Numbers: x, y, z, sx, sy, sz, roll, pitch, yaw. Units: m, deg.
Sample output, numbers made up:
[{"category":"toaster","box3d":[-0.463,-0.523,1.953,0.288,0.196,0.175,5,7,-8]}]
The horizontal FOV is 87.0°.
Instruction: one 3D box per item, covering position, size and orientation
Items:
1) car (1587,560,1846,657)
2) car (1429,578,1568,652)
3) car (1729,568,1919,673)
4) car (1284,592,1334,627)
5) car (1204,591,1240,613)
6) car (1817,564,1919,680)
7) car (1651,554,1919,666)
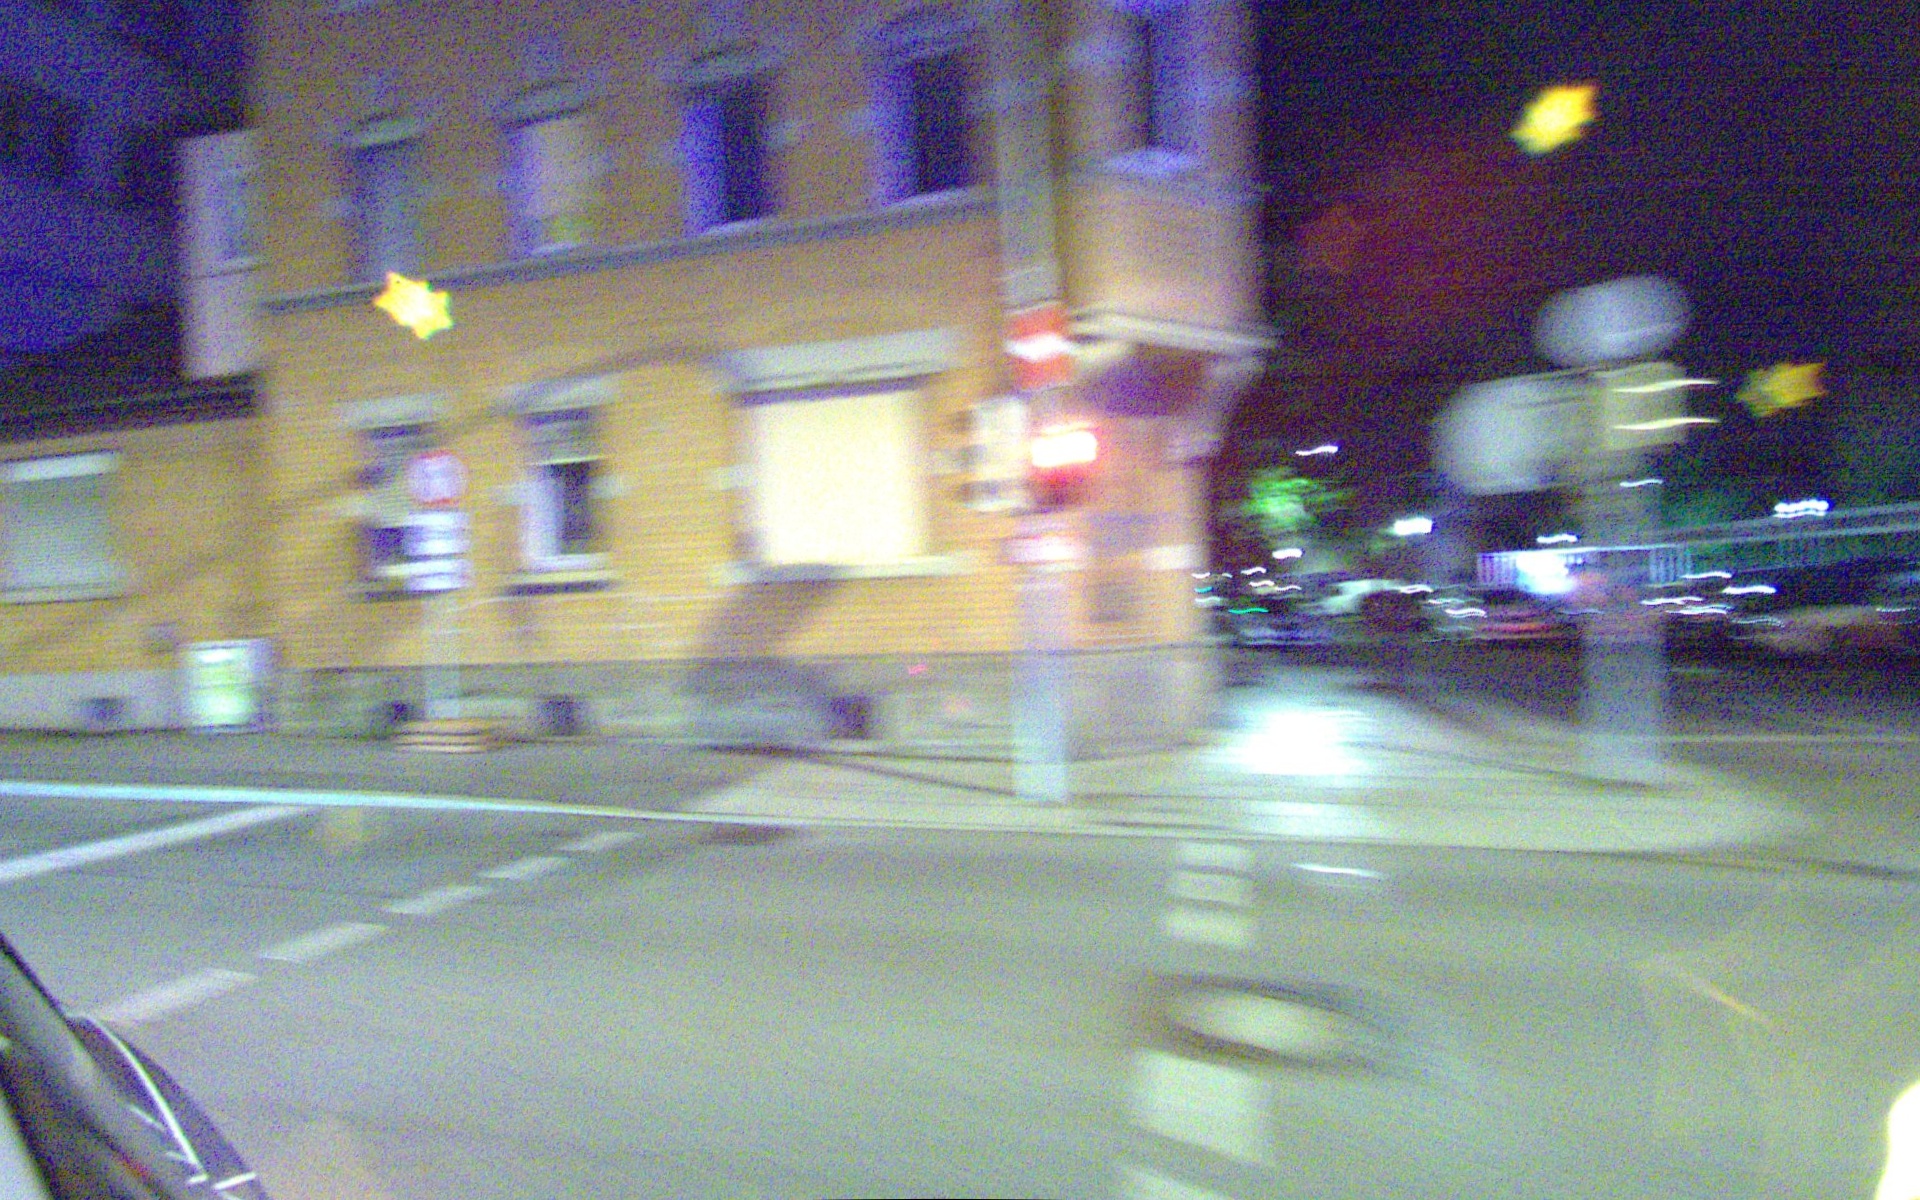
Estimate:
[{"category":"car","box3d":[16.258,0.174,21.982,3.957,1.900,1.994,-2,1,11]},{"category":"car","box3d":[14.322,0.363,27.201,1.976,1.795,3.991,-1,0,8]},{"category":"car","box3d":[16.024,0.306,17.371,3.957,1.634,1.994,-2,1,11]},{"category":"car","box3d":[17.899,0.465,52.115,1.980,1.646,3.983,-1,0,13]},{"category":"car","box3d":[20.426,0.125,78.974,1.975,1.646,3.994,-1,0,5]},{"category":"car","box3d":[15.736,0.240,15.115,3.957,1.634,1.994,-2,1,11]},{"category":"car","box3d":[16.174,0.174,19.683,3.957,1.960,1.994,-2,1,11]}]
